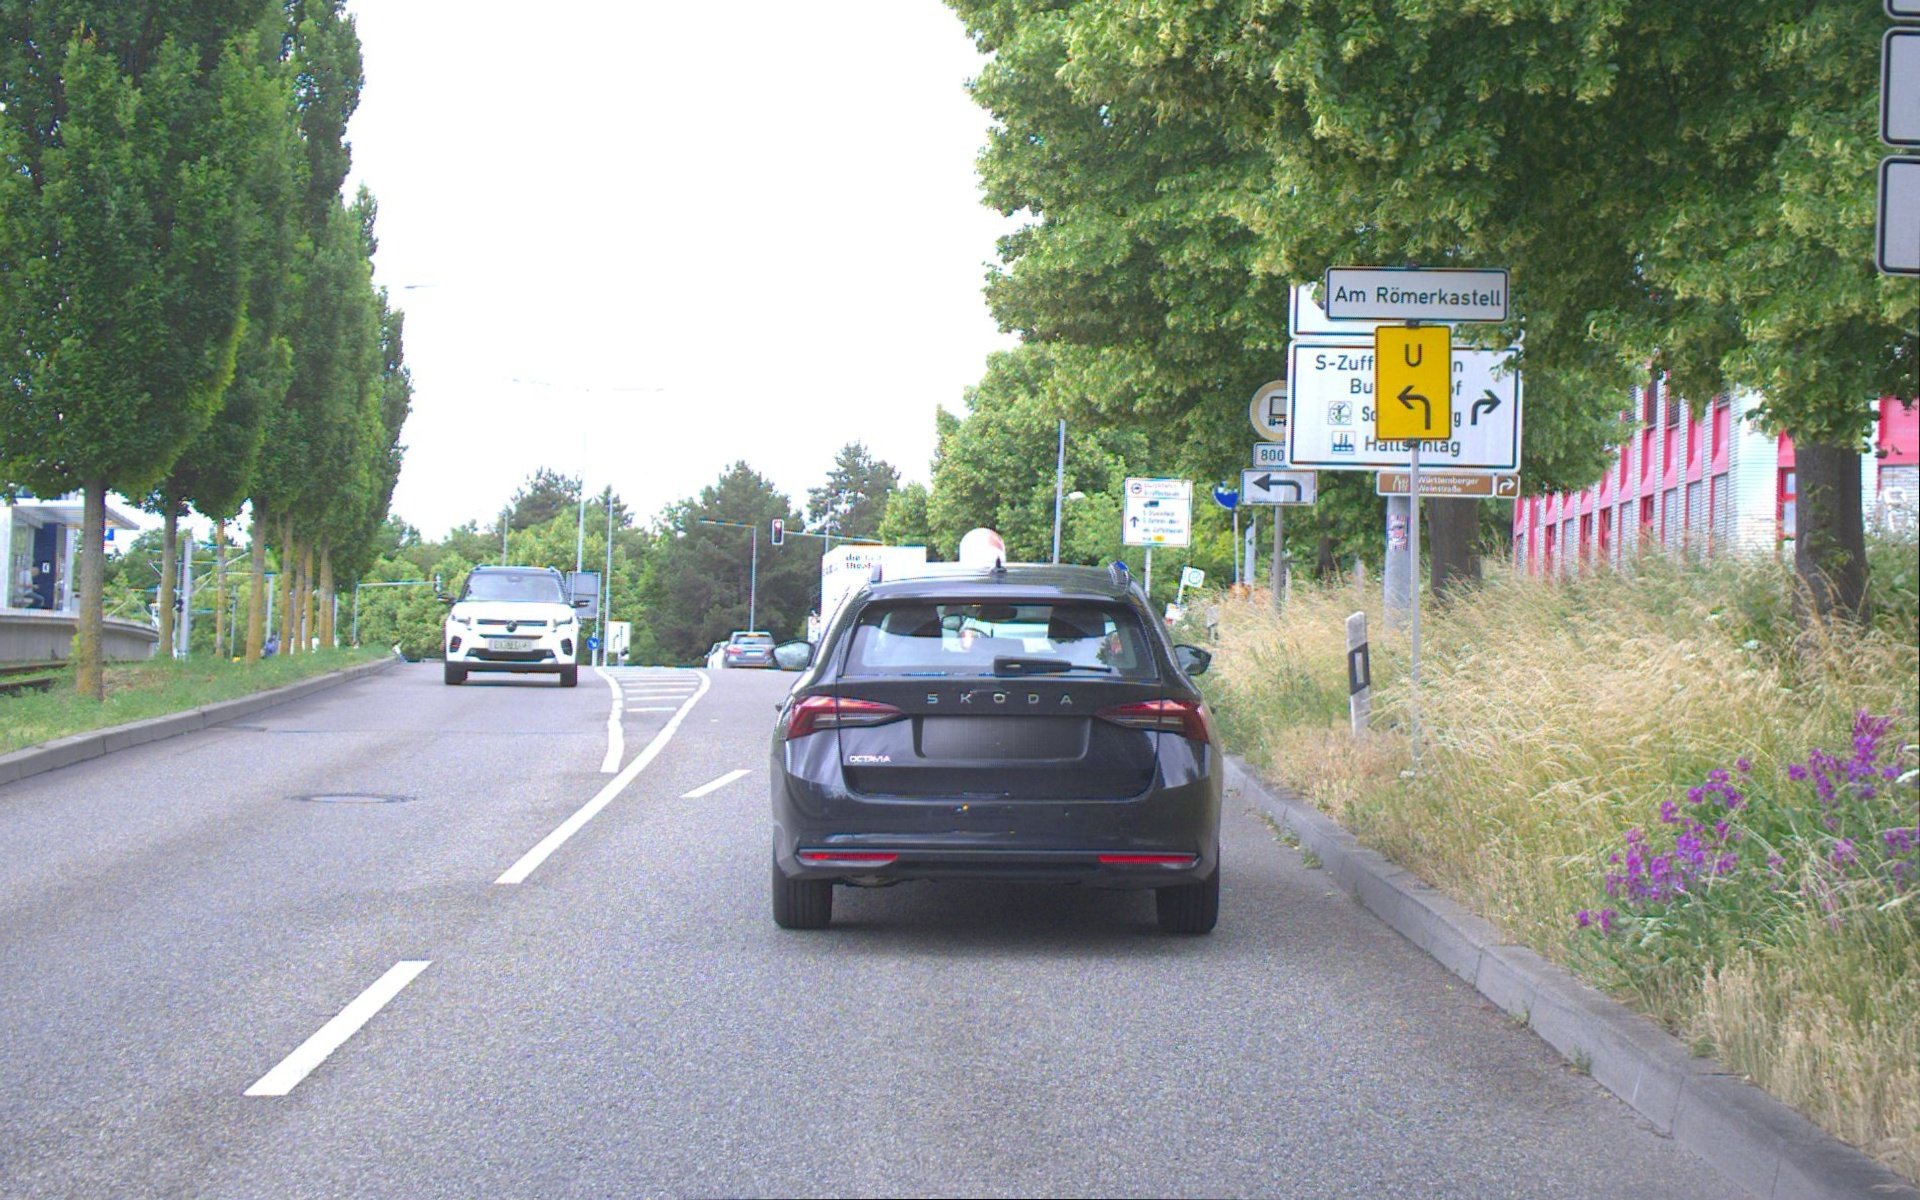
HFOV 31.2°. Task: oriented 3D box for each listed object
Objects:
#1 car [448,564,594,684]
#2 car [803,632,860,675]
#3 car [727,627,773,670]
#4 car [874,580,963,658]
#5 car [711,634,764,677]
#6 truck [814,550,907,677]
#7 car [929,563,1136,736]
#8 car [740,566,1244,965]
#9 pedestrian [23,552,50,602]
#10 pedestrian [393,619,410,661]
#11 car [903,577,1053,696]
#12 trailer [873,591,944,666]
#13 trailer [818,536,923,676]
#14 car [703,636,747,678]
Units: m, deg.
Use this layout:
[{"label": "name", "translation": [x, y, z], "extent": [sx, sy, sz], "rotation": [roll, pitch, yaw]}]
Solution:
[{"label": "car", "translation": [-5.837, 0.308, 46.038], "extent": [1.715, 1.516, 3.745], "rotation": [1, 0, -4]}, {"label": "car", "translation": [-4.434, 1.839, 118.449], "extent": [1.811, 1.349, 4.118], "rotation": [2, 0, -4]}, {"label": "car", "translation": [-7.081, 1.618, 115.775], "extent": [1.525, 1.349, 3.491], "rotation": [1, 1, -4]}, {"label": "car", "translation": [-0.862, 0.362, 69.466], "extent": [1.698, 1.481, 4.000], "rotation": [0, 1, -2]}, {"label": "car", "translation": [-8.101, 2.032, 124.890], "extent": [1.721, 1.417, 4.357], "rotation": [1, -2, -6]}, {"label": "truck", "translation": [-3.118, 0.473, 107.086], "extent": [2.570, 3.694, 4.106], "rotation": [1, -4, -5]}, {"label": "car", "translation": [0.606, 0.411, 31.221], "extent": [1.623, 1.452, 3.689], "rotation": [1, 0, -3]}, {"label": "car", "translation": [0.177, 0.581, 14.668], "extent": [1.836, 1.427, 4.278], "rotation": [0, 1, 2]}, {"label": "pedestrian", "translation": [-23.441, -0.588, 87.284], "extent": [0.609, 1.265, 0.660], "rotation": [1, 0, -11]}, {"label": "pedestrian", "translation": [-21.818, 1.578, 134.294], "extent": [0.586, 1.616, 0.423], "rotation": [1, 0, -8]}, {"label": "car", "translation": [0.196, 0.463, 44.810], "extent": [1.718, 1.452, 3.697], "rotation": [1, 0, -3]}, {"label": "trailer", "translation": [-1.158, 0.640, 75.693], "extent": [1.409, 1.588, 3.303], "rotation": [1, -1, -3]}, {"label": "trailer", "translation": [-2.748, 0.247, 103.356], "extent": [2.565, 3.694, 7.763], "rotation": [1, -4, -6]}, {"label": "car", "translation": [-8.908, 2.153, 130.079], "extent": [1.535, 1.499, 2.670], "rotation": [1, -3, -6]}]
